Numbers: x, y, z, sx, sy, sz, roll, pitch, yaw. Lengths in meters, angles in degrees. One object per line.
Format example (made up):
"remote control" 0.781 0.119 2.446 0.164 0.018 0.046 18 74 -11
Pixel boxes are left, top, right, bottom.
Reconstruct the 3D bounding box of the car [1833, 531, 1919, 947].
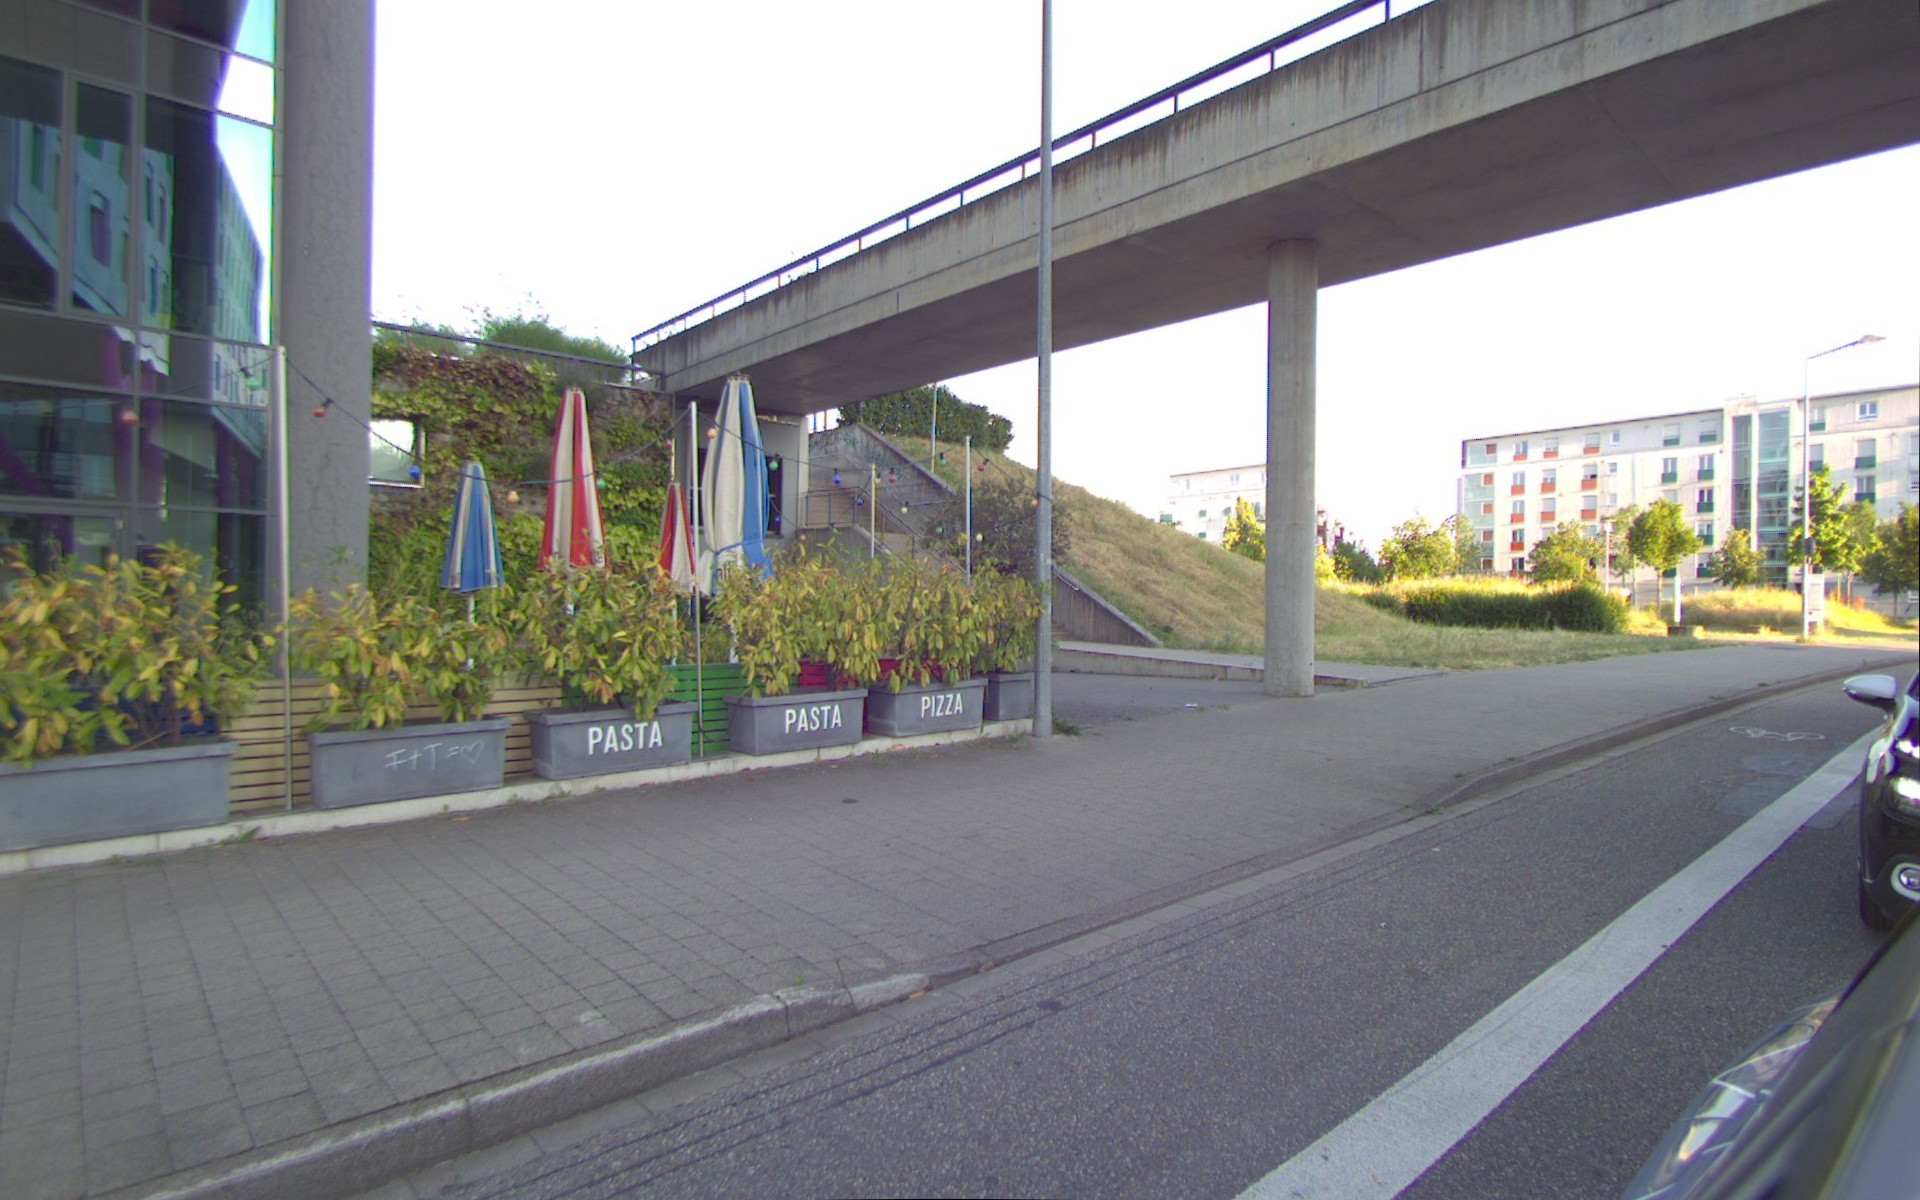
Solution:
"car" 5.510 0.536 4.737 4.003 1.571 1.757 0 0 -43
